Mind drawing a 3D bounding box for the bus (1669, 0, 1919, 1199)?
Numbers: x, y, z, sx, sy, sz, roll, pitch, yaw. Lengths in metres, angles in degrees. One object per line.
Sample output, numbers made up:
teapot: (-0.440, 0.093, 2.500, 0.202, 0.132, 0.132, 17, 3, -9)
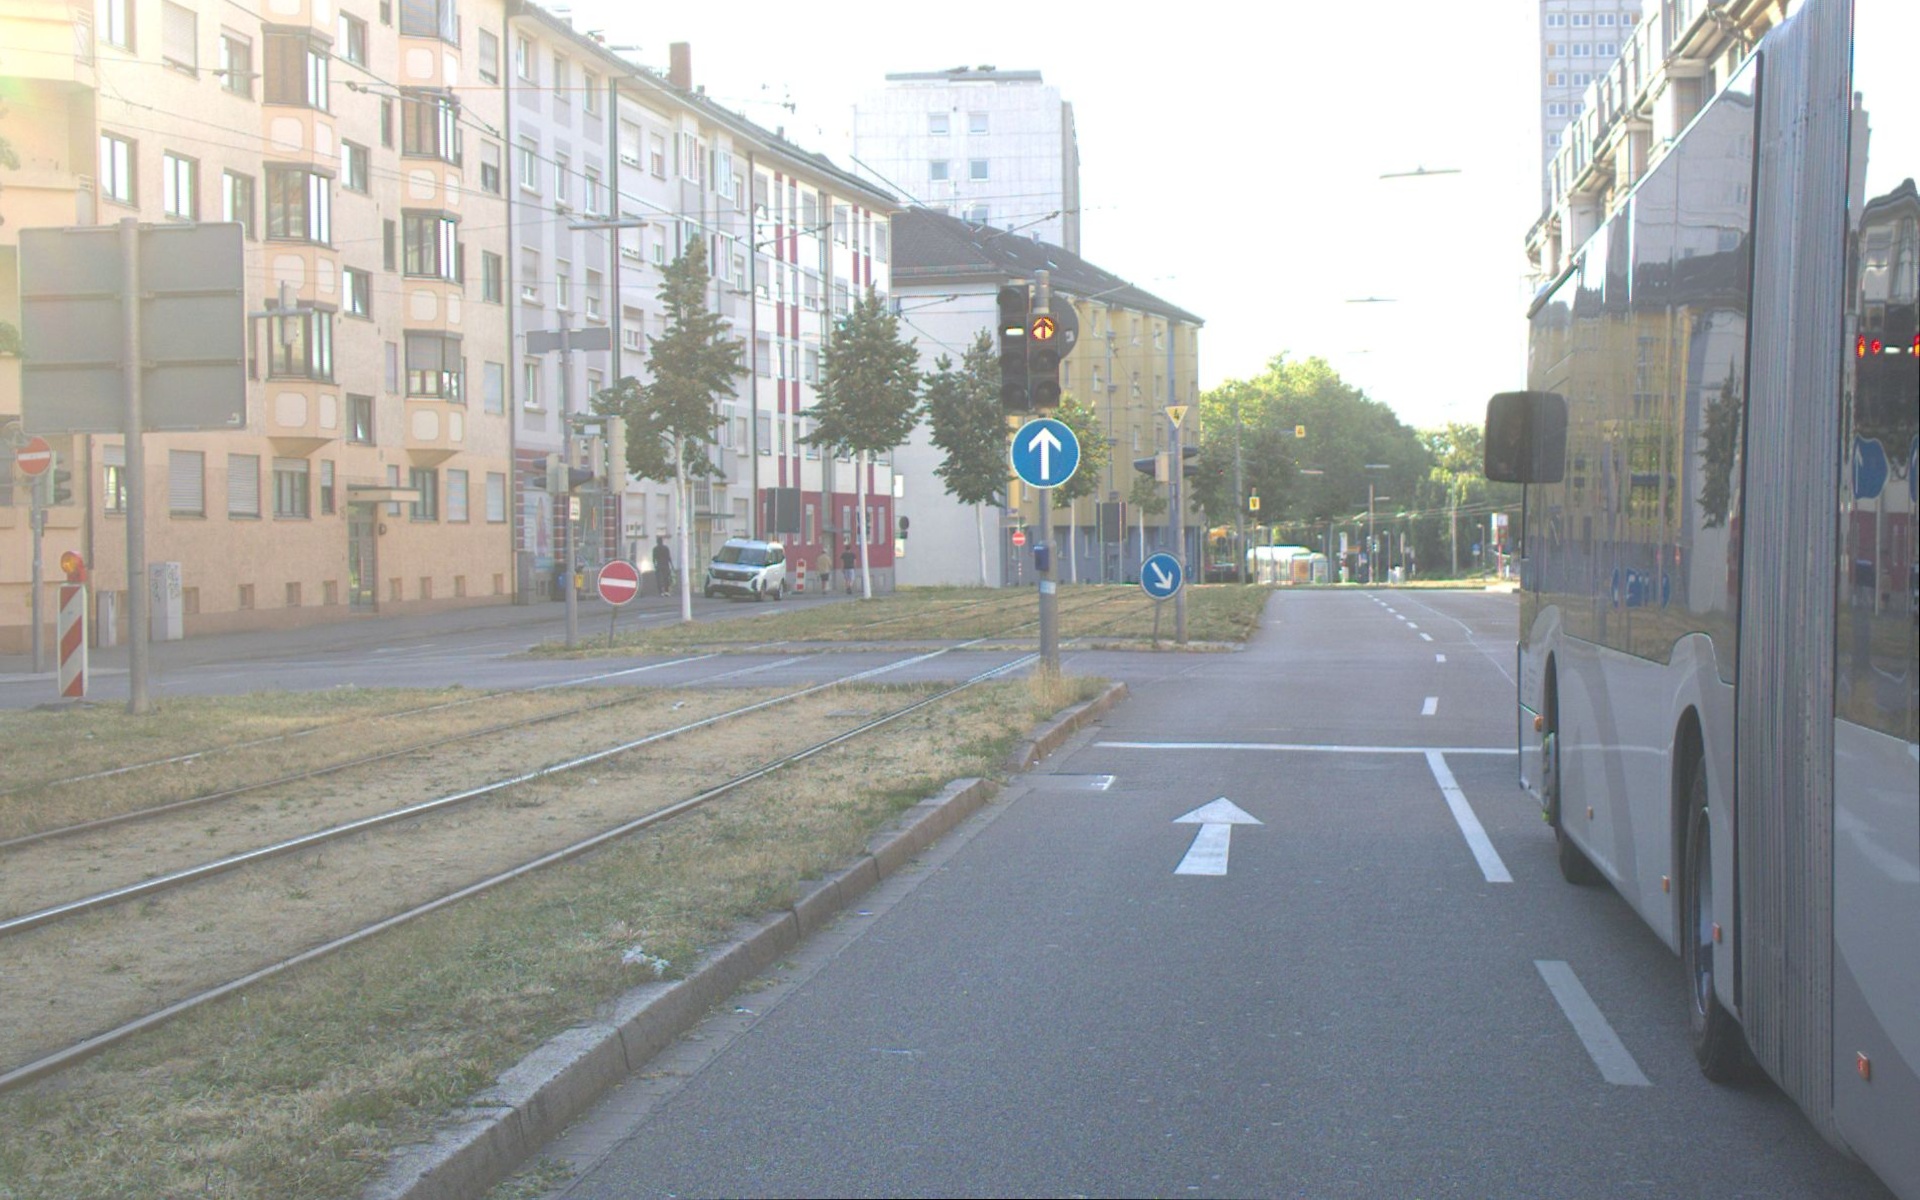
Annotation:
bus: (2.790, -0.066, 4.475, 2.739, 3.045, 8.852, 1, 1, 6)

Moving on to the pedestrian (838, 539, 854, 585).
pedestrian: (-4.100, -1.370, 124.094, 0.495, 1.652, 0.408, -1, 1, 7)

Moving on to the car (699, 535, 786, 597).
car: (-6.602, -1.025, 104.647, 1.812, 1.791, 4.244, 1, 0, 8)

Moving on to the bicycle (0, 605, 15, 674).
bicycle: (-14.426, 0.589, 49.029, 0.529, 0.980, 1.879, -1, 1, 37)

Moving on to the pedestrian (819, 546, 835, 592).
pedestrian: (-4.793, -1.127, 124.035, 0.495, 1.652, 0.408, -1, 1, 7)

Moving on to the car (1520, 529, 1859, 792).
car: (4.748, 0.333, 22.869, 1.770, 1.570, 4.085, -1, 1, 6)

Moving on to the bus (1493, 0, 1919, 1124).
bus: (3.721, -0.217, 13.432, 2.739, 3.045, 9.129, 1, 1, 6)

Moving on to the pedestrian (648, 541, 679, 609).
pedestrian: (-8.865, -0.746, 102.780, 0.786, 2.007, 0.891, -1, 1, 3)
